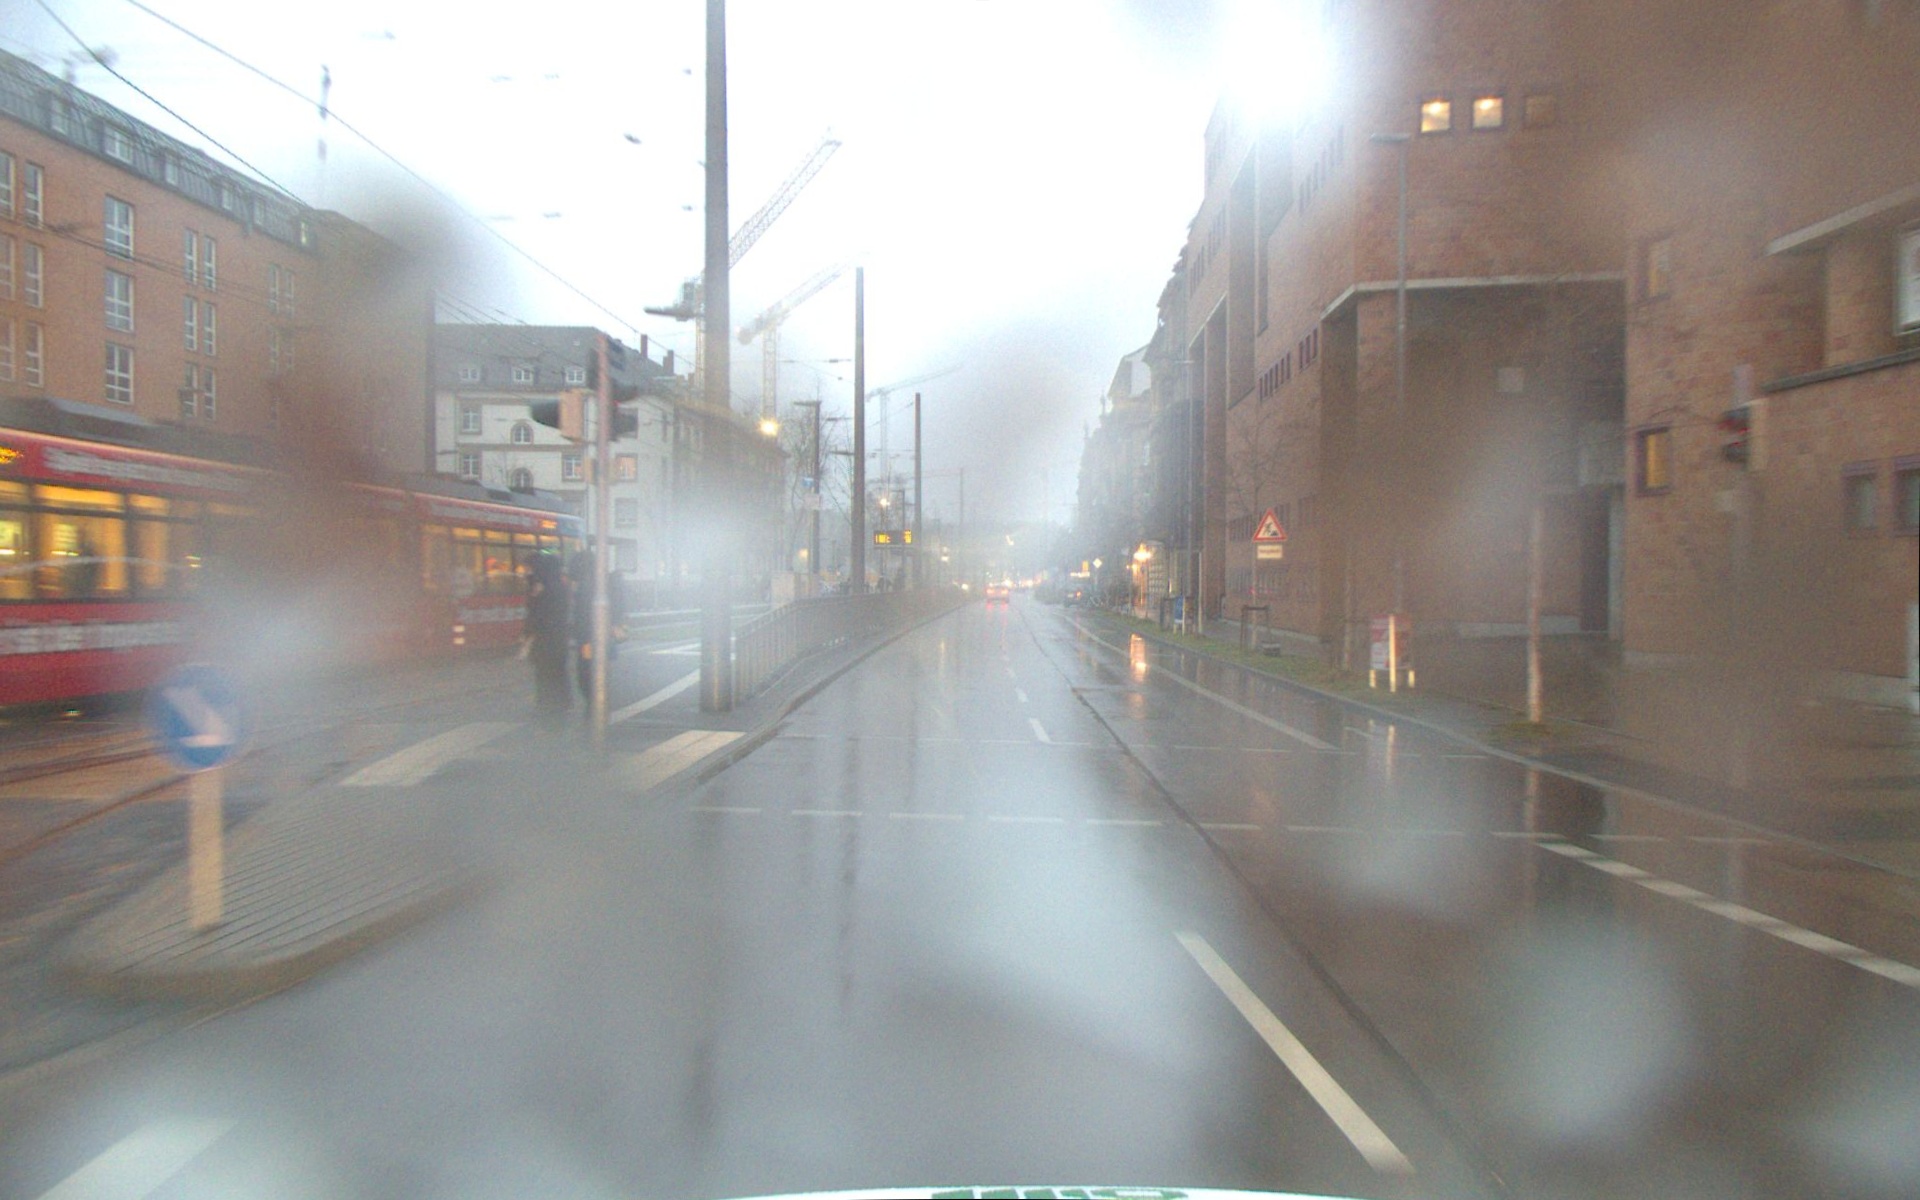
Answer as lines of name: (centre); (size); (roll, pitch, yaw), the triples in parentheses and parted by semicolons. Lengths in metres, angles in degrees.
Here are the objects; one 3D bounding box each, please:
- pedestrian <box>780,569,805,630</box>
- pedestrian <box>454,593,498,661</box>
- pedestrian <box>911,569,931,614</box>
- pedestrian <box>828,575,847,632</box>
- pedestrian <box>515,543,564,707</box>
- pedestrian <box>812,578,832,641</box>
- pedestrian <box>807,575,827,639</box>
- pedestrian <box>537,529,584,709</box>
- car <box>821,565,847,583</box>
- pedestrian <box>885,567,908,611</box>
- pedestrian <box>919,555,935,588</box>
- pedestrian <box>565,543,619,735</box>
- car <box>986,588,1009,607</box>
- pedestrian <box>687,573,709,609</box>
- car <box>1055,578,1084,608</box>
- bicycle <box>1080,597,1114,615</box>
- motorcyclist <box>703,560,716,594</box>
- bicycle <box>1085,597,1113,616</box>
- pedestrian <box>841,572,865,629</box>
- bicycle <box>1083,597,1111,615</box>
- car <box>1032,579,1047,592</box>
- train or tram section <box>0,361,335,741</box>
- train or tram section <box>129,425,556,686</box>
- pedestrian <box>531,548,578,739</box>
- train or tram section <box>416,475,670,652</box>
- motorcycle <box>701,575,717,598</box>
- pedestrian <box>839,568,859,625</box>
pedestrian: (-4.491, -0.012, 44.452); (0.605, 1.618, 0.622); (0, 0, -1)
pedestrian: (-8.479, 0.465, 28.974); (0.568, 1.172, 0.490); (2, 0, 3)
pedestrian: (-1.734, -0.382, 73.689); (0.793, 1.981, 0.805); (0, 1, 2)
pedestrian: (-3.718, 0.104, 50.393); (0.529, 1.721, 0.643); (0, 0, -1)
pedestrian: (-4.596, 0.268, 18.089); (0.424, 1.765, 0.473); (0, 0, -3)
pedestrian: (-3.599, 0.238, 43.095); (0.471, 1.618, 0.563); (0, 0, -1)
pedestrian: (-3.808, 0.180, 44.101); (0.471, 1.708, 0.563); (0, 0, -1)
pedestrian: (-4.502, 0.210, 18.663); (0.424, 2.001, 0.473); (0, 0, -3)
car: (-9.878, -2.023, 130.112); (1.647, 1.378, 3.546); (1, 0, 1)
pedestrian: (-2.555, -0.437, 66.439); (0.763, 1.733, 0.770); (1, 0, -16)
pedestrian: (-1.576, -1.349, 78.716); (0.667, 1.542, 0.617); (1, 0, -10)
pedestrian: (-3.669, 0.383, 16.520); (0.404, 1.877, 0.669); (0, 0, -3)
car: (3.126, -0.189, 135.811); (1.746, 1.492, 3.150); (0, 1, 4)
pedestrian: (-11.517, -0.381, 72.782); (0.630, 1.551, 0.746); (1, 1, -40)
car: (7.628, -0.524, 114.866); (1.952, 2.049, 4.002); (0, 1, 4)
bicycle: (8.716, 0.402, 105.457); (2.100, 1.073, 0.484); (-1, 0, 1)
motorcyclist: (-11.547, -1.055, 76.246); (0.489, 1.522, 0.556); (2, 0, -3)
bicycle: (8.522, 0.392, 101.526); (1.694, 1.073, 0.371); (-1, 0, 1)
pedestrian: (-3.289, 0.001, 50.795); (0.635, 1.733, 0.566); (1, 0, -16)
bicycle: (8.460, 0.386, 102.252); (1.694, 1.073, 0.371); (-1, 0, 1)
car: (10.067, -1.843, 209.671); (1.761, 1.632, 3.772); (0, 1, 4)
train or tram section: (-10.608, -0.518, 17.382); (2.889, 3.651, 12.259); (2, 1, 2)
train or tram section: (-10.156, -0.703, 29.081); (2.864, 3.640, 11.039); (2, 1, 2)
pedestrian: (-3.916, 0.414, 15.989); (0.352, 1.818, 0.440); (0, 0, -3)
train or tram section: (-9.690, -0.829, 40.078); (2.839, 3.630, 11.039); (2, 1, 2)
motorcycle: (-11.554, -0.640, 76.246); (0.502, 1.026, 1.806); (2, 1, -2)
pedestrian: (-3.179, -0.098, 47.493); (0.529, 1.618, 0.563); (0, 0, -1)
